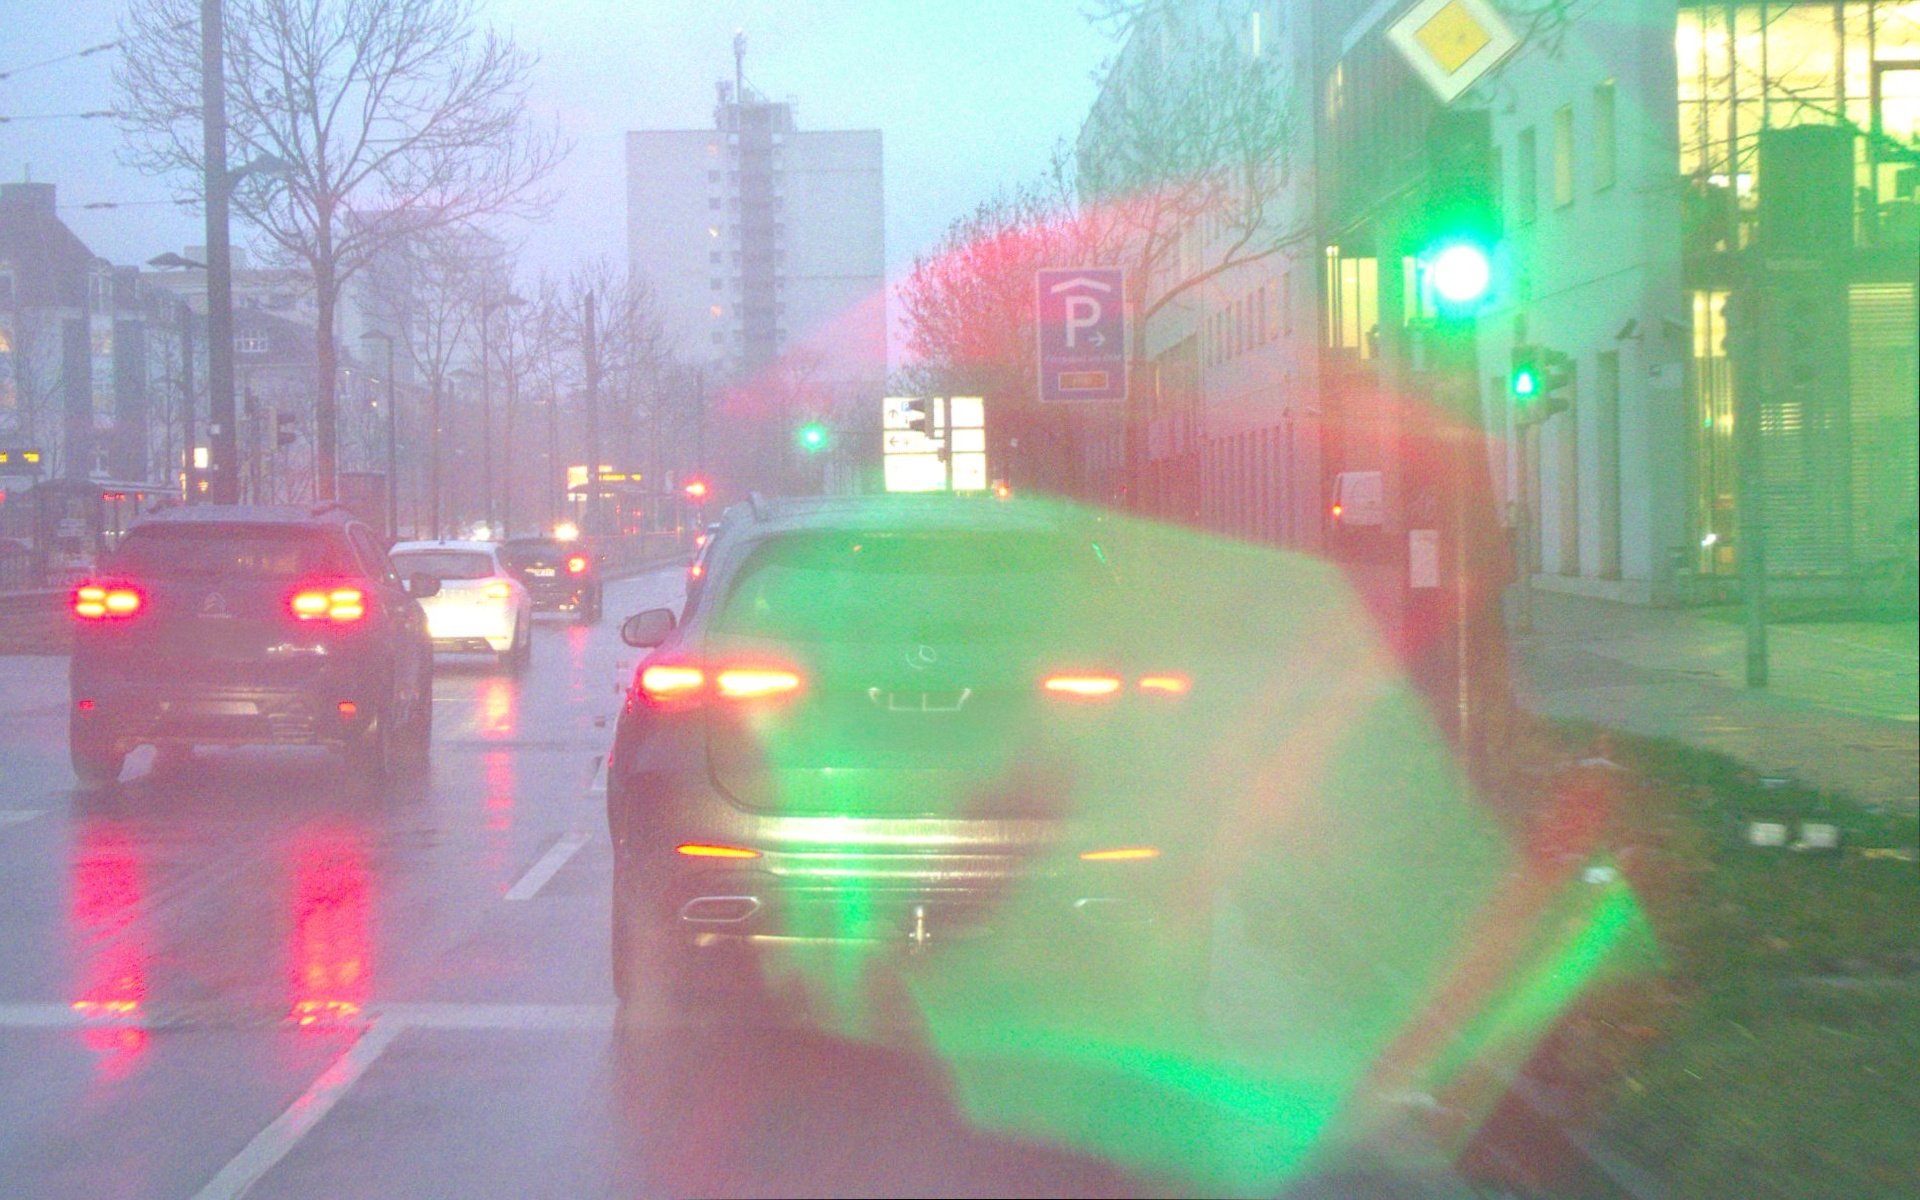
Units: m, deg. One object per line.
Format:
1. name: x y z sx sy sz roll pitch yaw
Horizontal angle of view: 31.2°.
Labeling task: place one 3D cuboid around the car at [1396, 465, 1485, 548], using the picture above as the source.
1. car: 10.456 -2.034 74.978 1.627 1.753 3.421 1 1 3

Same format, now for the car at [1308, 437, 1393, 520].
1. car: 8.502 -2.627 74.992 1.627 1.753 3.421 1 1 3

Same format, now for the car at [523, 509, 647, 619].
1. car: -6.247 -0.607 57.548 1.662 1.753 3.568 1 1 0

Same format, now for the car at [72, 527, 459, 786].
1. car: -4.249 0.281 21.593 1.817 1.445 4.001 1 1 -3

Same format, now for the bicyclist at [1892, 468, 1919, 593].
1. bicyclist: 10.381 -0.745 36.804 0.622 1.325 0.564 2 1 32

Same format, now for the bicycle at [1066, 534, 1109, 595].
1. bicycle: 2.079 -0.586 56.008 0.544 0.962 1.346 1 1 -4

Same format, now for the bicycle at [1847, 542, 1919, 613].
1. bicycle: 10.443 -0.231 36.739 1.731 0.743 0.650 2 1 33

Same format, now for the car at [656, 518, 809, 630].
1. car: -3.275 -0.410 50.109 1.867 1.537 3.610 1 1 2

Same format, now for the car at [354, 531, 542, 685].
1. car: -5.753 0.055 38.955 1.689 1.629 3.474 1 1 -2

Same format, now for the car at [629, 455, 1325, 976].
1. car: 0.000 0.303 11.801 1.993 1.478 3.700 1 1 -2
